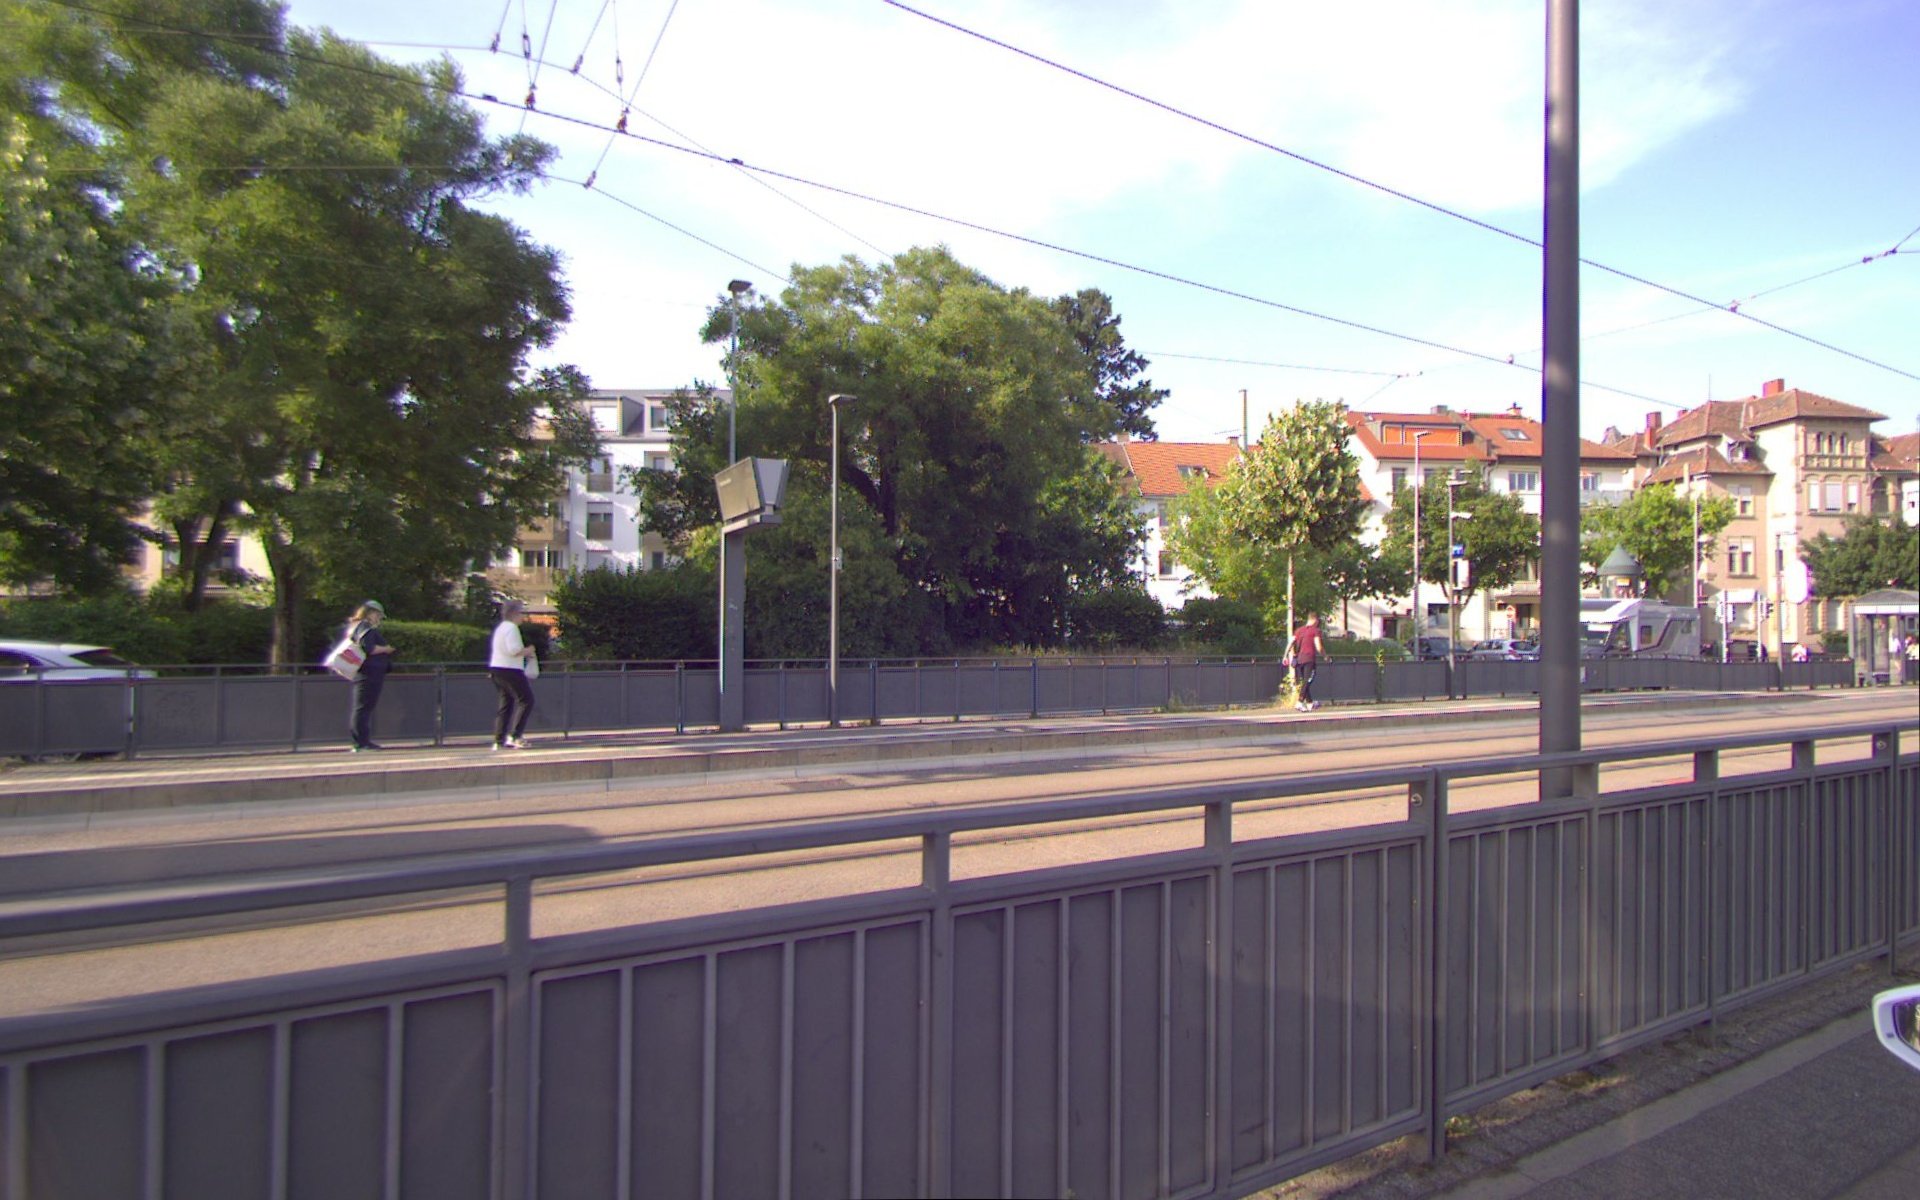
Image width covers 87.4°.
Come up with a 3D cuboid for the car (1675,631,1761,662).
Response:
[{"bbox_3d":[47.257,2.883,62.722,1.965,1.773,3.992,1,-1,-12],"label":"car"}]

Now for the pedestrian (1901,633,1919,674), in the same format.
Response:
[{"bbox_3d":[41.499,2.318,43.608,0.740,1.776,0.879,1,-1,-40],"label":"pedestrian"}]

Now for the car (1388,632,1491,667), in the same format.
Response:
[{"bbox_3d":[20.848,2.122,43.838,1.966,1.416,3.988,1,-1,-15],"label":"car"}]

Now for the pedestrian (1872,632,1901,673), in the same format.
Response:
[{"bbox_3d":[40.901,2.324,44.349,0.740,1.776,0.879,1,-1,-40],"label":"pedestrian"}]

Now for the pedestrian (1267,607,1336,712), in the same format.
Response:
[{"bbox_3d":[5.901,1.013,17.368,0.763,1.756,0.832,1,-2,-29],"label":"pedestrian"}]

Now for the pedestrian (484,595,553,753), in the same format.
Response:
[{"bbox_3d":[-4.831,0.793,10.977,0.601,1.663,0.578,1,-3,-34],"label":"pedestrian"}]

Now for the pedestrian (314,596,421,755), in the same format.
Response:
[{"bbox_3d":[-6.501,0.800,11.028,0.656,1.663,0.859,0,-1,44],"label":"pedestrian"}]

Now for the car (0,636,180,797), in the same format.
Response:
[{"bbox_3d":[-11.465,1.279,11.330,3.954,1.706,1.983,1,-1,-31],"label":"car"}]

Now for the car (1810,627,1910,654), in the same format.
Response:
[{"bbox_3d":[56.680,2.537,63.316,4.628,1.649,2.209,1,-1,-7],"label":"car"}]

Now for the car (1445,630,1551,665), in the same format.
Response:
[{"bbox_3d":[23.649,2.070,44.300,1.966,1.416,3.988,1,-1,-15],"label":"car"}]

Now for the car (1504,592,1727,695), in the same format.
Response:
[{"bbox_3d":[19.583,1.240,29.884,7.381,2.771,2.584,1,-1,-31],"label":"car"}]
